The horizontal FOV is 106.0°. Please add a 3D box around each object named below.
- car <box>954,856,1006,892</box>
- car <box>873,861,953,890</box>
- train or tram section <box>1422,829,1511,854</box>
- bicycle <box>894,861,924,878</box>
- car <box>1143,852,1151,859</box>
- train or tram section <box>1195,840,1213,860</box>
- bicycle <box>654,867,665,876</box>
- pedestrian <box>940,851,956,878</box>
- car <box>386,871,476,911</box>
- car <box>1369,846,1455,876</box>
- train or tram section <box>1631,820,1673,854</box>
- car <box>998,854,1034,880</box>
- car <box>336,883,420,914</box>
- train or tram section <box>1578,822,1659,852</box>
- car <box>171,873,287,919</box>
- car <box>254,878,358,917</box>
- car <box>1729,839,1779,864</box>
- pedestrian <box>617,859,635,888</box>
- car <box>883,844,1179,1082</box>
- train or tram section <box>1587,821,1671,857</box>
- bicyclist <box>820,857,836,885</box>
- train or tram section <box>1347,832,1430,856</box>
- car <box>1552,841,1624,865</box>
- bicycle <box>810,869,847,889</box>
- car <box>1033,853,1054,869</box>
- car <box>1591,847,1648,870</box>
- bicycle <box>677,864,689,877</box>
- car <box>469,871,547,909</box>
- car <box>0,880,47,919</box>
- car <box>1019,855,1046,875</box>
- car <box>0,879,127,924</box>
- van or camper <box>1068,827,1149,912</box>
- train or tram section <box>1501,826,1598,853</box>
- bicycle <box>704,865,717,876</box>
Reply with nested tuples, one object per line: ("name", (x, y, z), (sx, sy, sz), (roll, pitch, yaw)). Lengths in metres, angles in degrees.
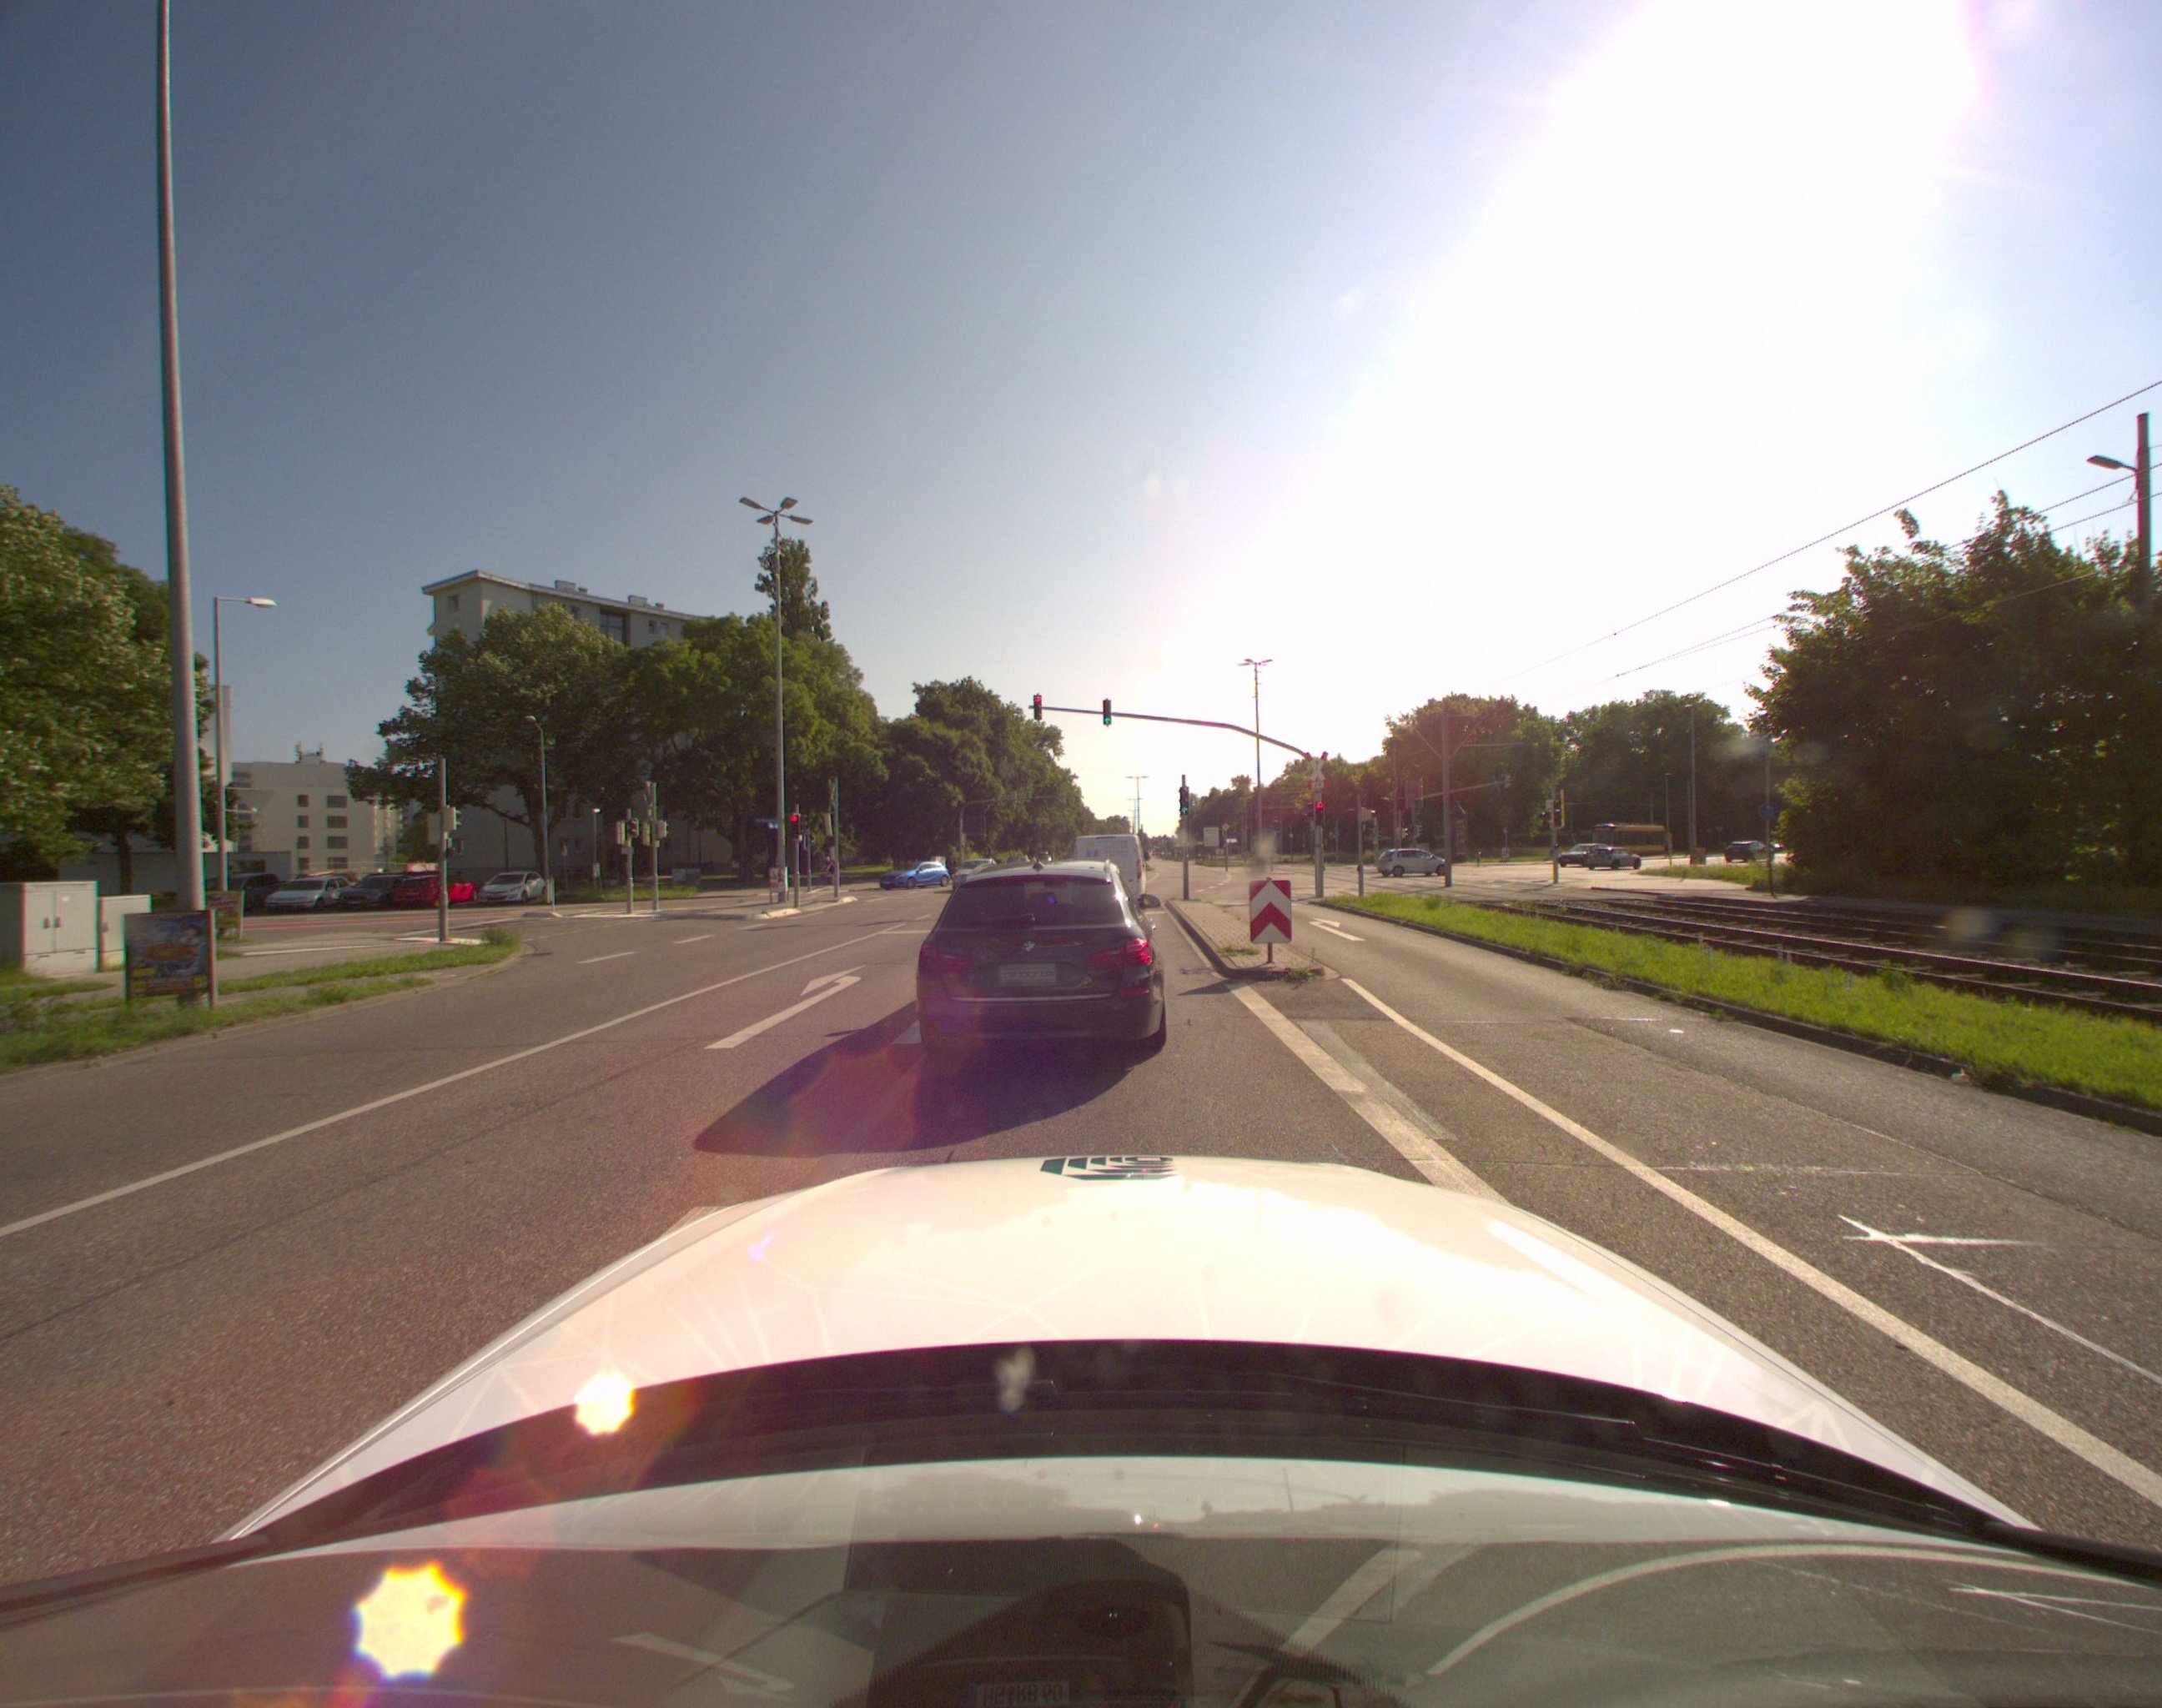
("car", (-4.591, 0.860, 37.598), (1.696, 1.465, 4.370), (-3, 0, 1))
("car", (-8.866, 1.108, 43.321), (1.762, 1.414, 4.271), (-1, 0, 31))
("train or tram section", (60.007, -1.838, 126.948), (12.072, 3.579, 3.073), (-1, 0, 38))
("bicycle", (-11.637, 1.051, 55.089), (1.902, 1.119, 0.632), (-1, 0, 1))
("car", (15.751, 0.372, 193.443), (1.786, 1.486, 3.902), (-1, 0, 3))
("train or tram section", (22.863, -0.719, 151.968), (2.782, 3.618, 12.976), (0, 0, 6))
("bicycle", (-34.309, 1.434, 66.245), (0.587, 0.708, 2.215), (-1, 0, -33))
("pedestrian", (-9.004, 0.695, 55.056), (0.811, 1.752, 0.933), (-1, 0, 7))
("car", (-30.850, 1.712, 38.795), (1.782, 1.415, 3.982), (-1, 4, -14))
("car", (18.985, 0.387, 46.862), (4.178, 1.562, 1.855), (-1, 0, -1))
("train or tram section", (66.106, -1.913, 94.573), (3.015, 3.579, 12.308), (-1, 0, 31))
("car", (-4.193, 0.799, 53.209), (1.738, 1.562, 4.003), (-3, 0, 3))
("car", (-32.777, 2.052, 38.096), (1.463, 1.193, 3.767), (-1, 0, -15))
("train or tram section", (69.664, -2.063, 106.052), (3.031, 3.579, 12.241), (-1, 0, 3))
("car", (-38.063, 1.827, 36.529), (1.783, 1.811, 3.977), (-1, 0, -16))
("car", (-35.417, 1.932, 37.362), (1.783, 1.521, 3.977), (-1, 0, -16))
("car", (51.658, -0.197, 62.489), (4.639, 1.722, 1.632), (2, -1, -33))
("pedestrian", (-27.532, 1.196, 49.286), (0.619, 1.713, 0.707), (-1, 0, 14))
("car", (-0.256, 0.705, 7.316), (1.896, 1.506, 4.067), (-1, 0, 2))
("train or tram section", (57.946, -1.565, 85.909), (11.898, 3.579, 3.022), (-1, 0, -34))
("bicyclist", (-14.468, 0.977, 46.637), (0.601, 1.560, 0.607), (-1, 0, 35))
("train or tram section", (50.398, -1.664, 133.843), (12.279, 3.579, 3.073), (-1, 0, 33))
("car", (35.954, -0.071, 57.750), (4.871, 1.562, 2.027), (-1, 0, -26))
("bicycle", (-14.436, 1.409, 46.672), (0.613, 1.040, 2.085), (-1, 0, 35))
("car", (-3.714, 0.677, 80.689), (1.783, 1.520, 4.000), (-2, 0, 0))
("car", (34.763, 0.273, 52.604), (3.539, 1.383, 1.592), (-1, 0, -29))
("bicycle", (-32.710, 1.377, 66.975), (0.615, 1.066, 1.896), (0, -2, -34))
("car", (-27.891, 1.690, 39.783), (1.783, 1.439, 3.980), (-1, 3, -15))
("car", (-46.082, 2.018, 33.677), (1.785, 1.476, 4.686), (-1, 3, -19))
("car", (-3.943, 0.853, 66.260), (1.882, 1.474, 4.099), (-2, 0, 0))
("car", (-44.369, 2.011, 35.230), (1.785, 1.477, 4.785), (-1, 3, -19))
("van or camper", (0.833, 0.392, 22.942), (1.985, 2.096, 4.602), (-1, 0, 3))
("train or tram section", (67.342, -1.975, 117.560), (3.064, 3.579, 12.108), (-1, 0, -31))
("bicycle", (-31.028, 1.366, 68.238), (0.673, 0.919, 2.382), (-1, 0, -33))
